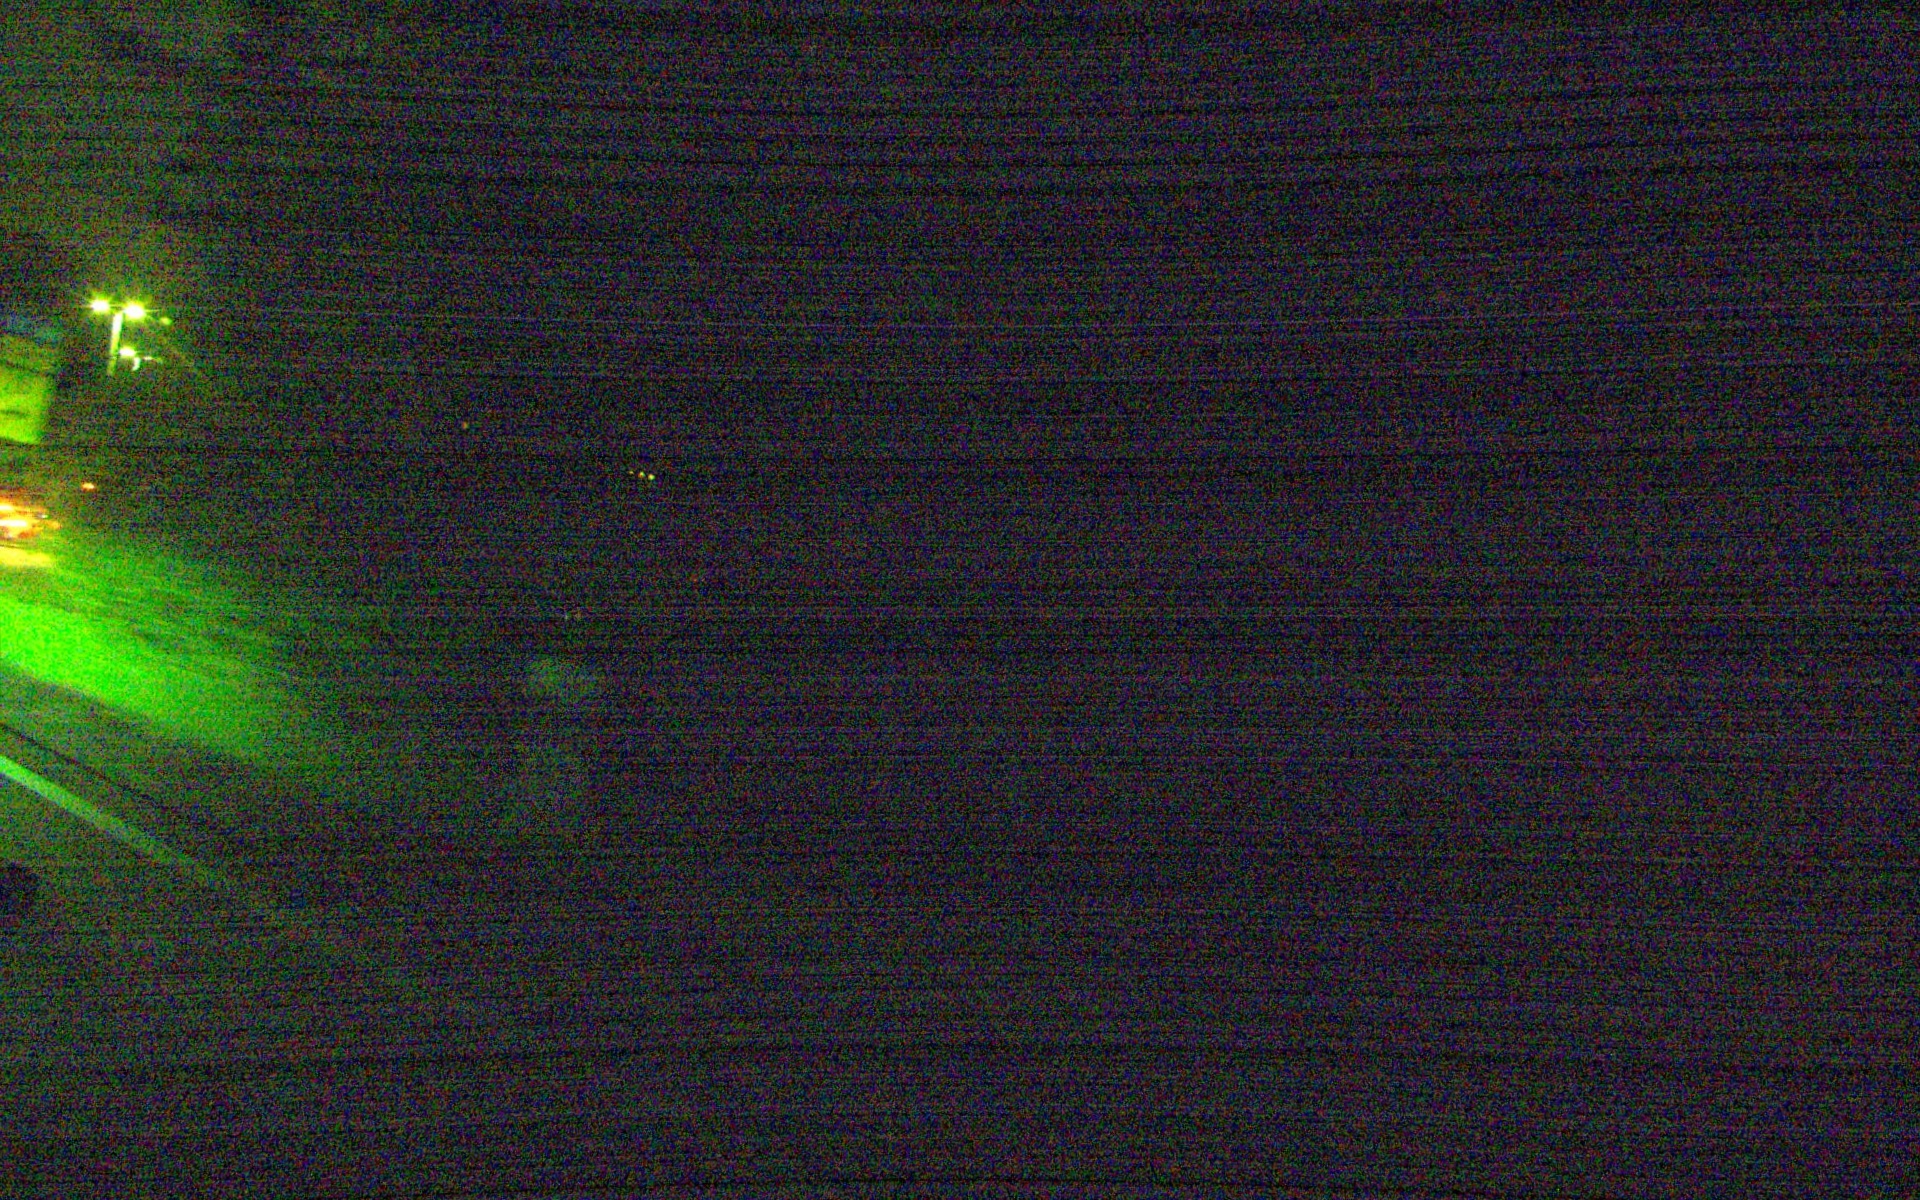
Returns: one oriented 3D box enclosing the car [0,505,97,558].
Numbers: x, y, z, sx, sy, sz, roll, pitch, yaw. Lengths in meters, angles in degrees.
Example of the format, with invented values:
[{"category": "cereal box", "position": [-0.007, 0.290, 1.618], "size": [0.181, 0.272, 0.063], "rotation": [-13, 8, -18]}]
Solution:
[{"category": "car", "position": [-37.172, -2.782, 40.302], "size": [1.826, 1.599, 4.006], "rotation": [9, -3, -7]}]
